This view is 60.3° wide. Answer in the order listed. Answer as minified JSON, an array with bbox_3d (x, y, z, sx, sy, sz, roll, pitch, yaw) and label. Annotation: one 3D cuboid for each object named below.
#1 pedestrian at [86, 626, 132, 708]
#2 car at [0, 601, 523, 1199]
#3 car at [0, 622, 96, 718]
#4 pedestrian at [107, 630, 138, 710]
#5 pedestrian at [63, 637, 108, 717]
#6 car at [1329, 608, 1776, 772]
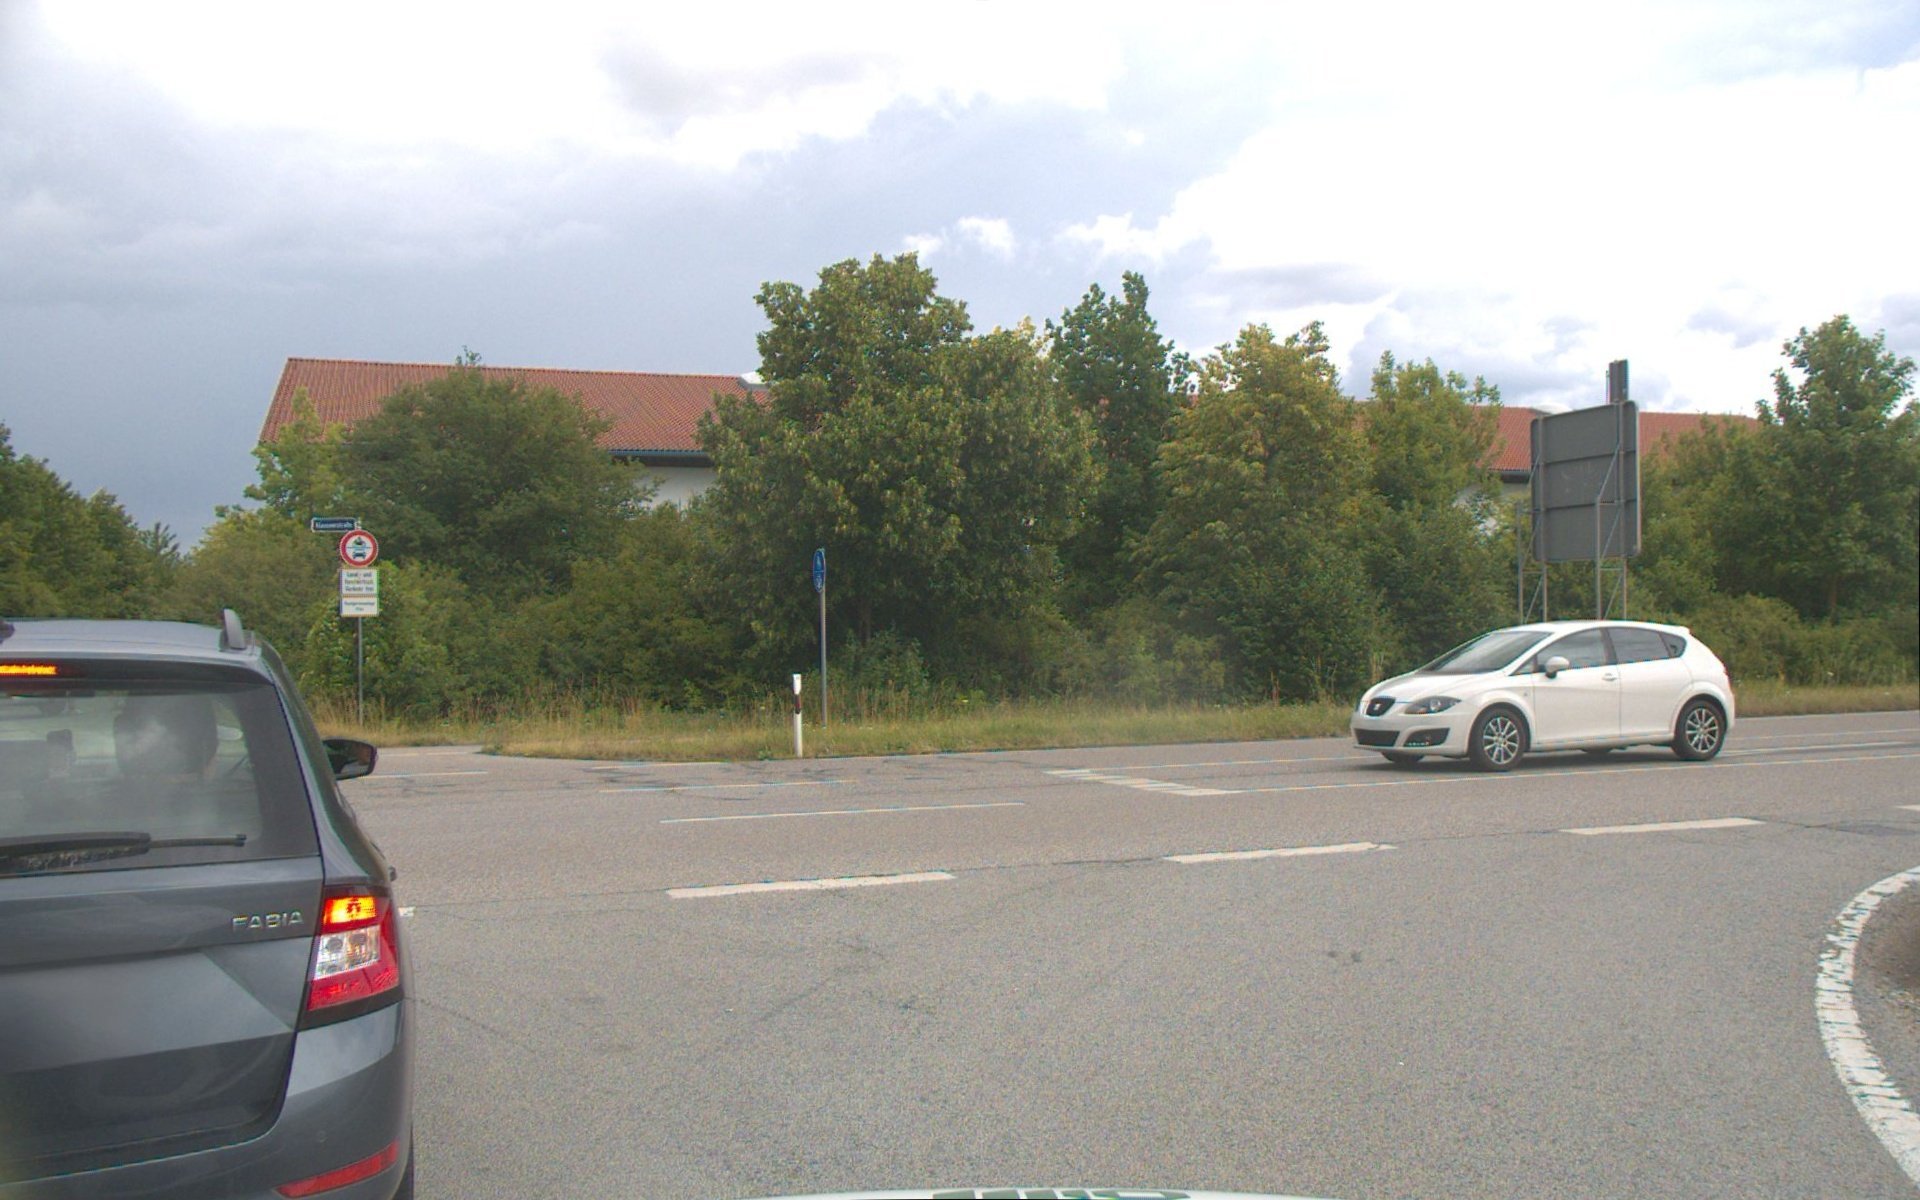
[{"bbox_3d":[-18.626,1.445,36.206,0.712,1.753,0.788,-1,-1,-16],"label":"pedestrian"},{"bbox_3d":[-2.408,0.756,4.379,1.692,1.473,4.083,0,-1,-26],"label":"car"},{"bbox_3d":[-21.586,1.532,36.013,4.979,1.919,2.113,-2,0,21],"label":"car"},{"bbox_3d":[-19.077,1.587,37.699,0.482,1.777,0.640,-1,0,-16],"label":"pedestrian"},{"bbox_3d":[-19.578,1.718,37.027,0.688,1.753,0.731,-1,-1,-12],"label":"pedestrian"},{"bbox_3d":[6.169,0.882,17.258,4.238,1.433,1.808,-2,-1,-22],"label":"car"}]
